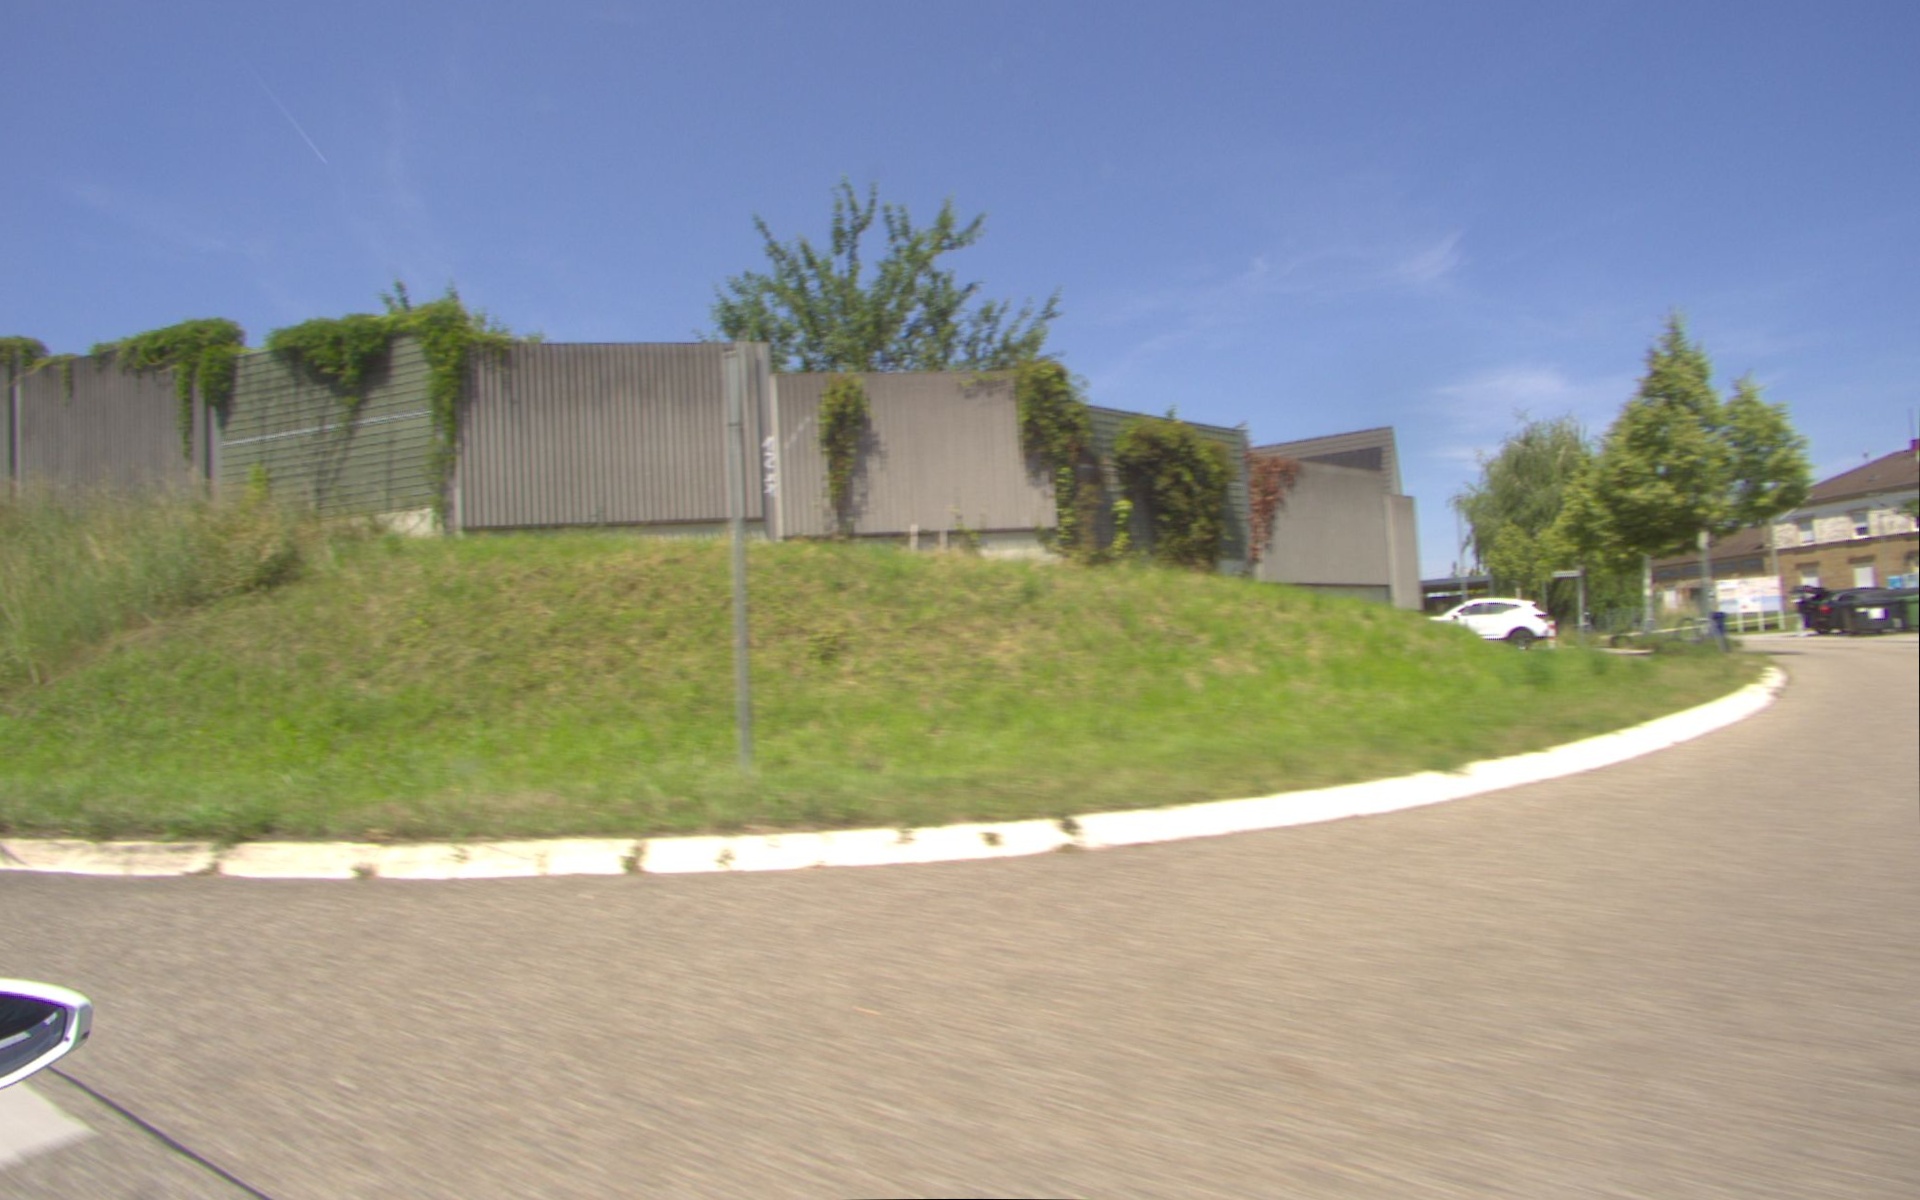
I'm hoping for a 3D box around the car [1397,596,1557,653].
[{"bbox_3d":[16.881,0.828,32.885,4.533,1.674,1.995,-1,-5,28],"label":"car"}]

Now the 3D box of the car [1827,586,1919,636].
[{"bbox_3d":[34.006,0.340,35.858,3.933,1.598,1.868,-5,-4,20],"label":"car"}]

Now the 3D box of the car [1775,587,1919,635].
[{"bbox_3d":[36.478,0.497,41.275,3.933,1.598,1.868,-5,-4,20],"label":"car"}]
